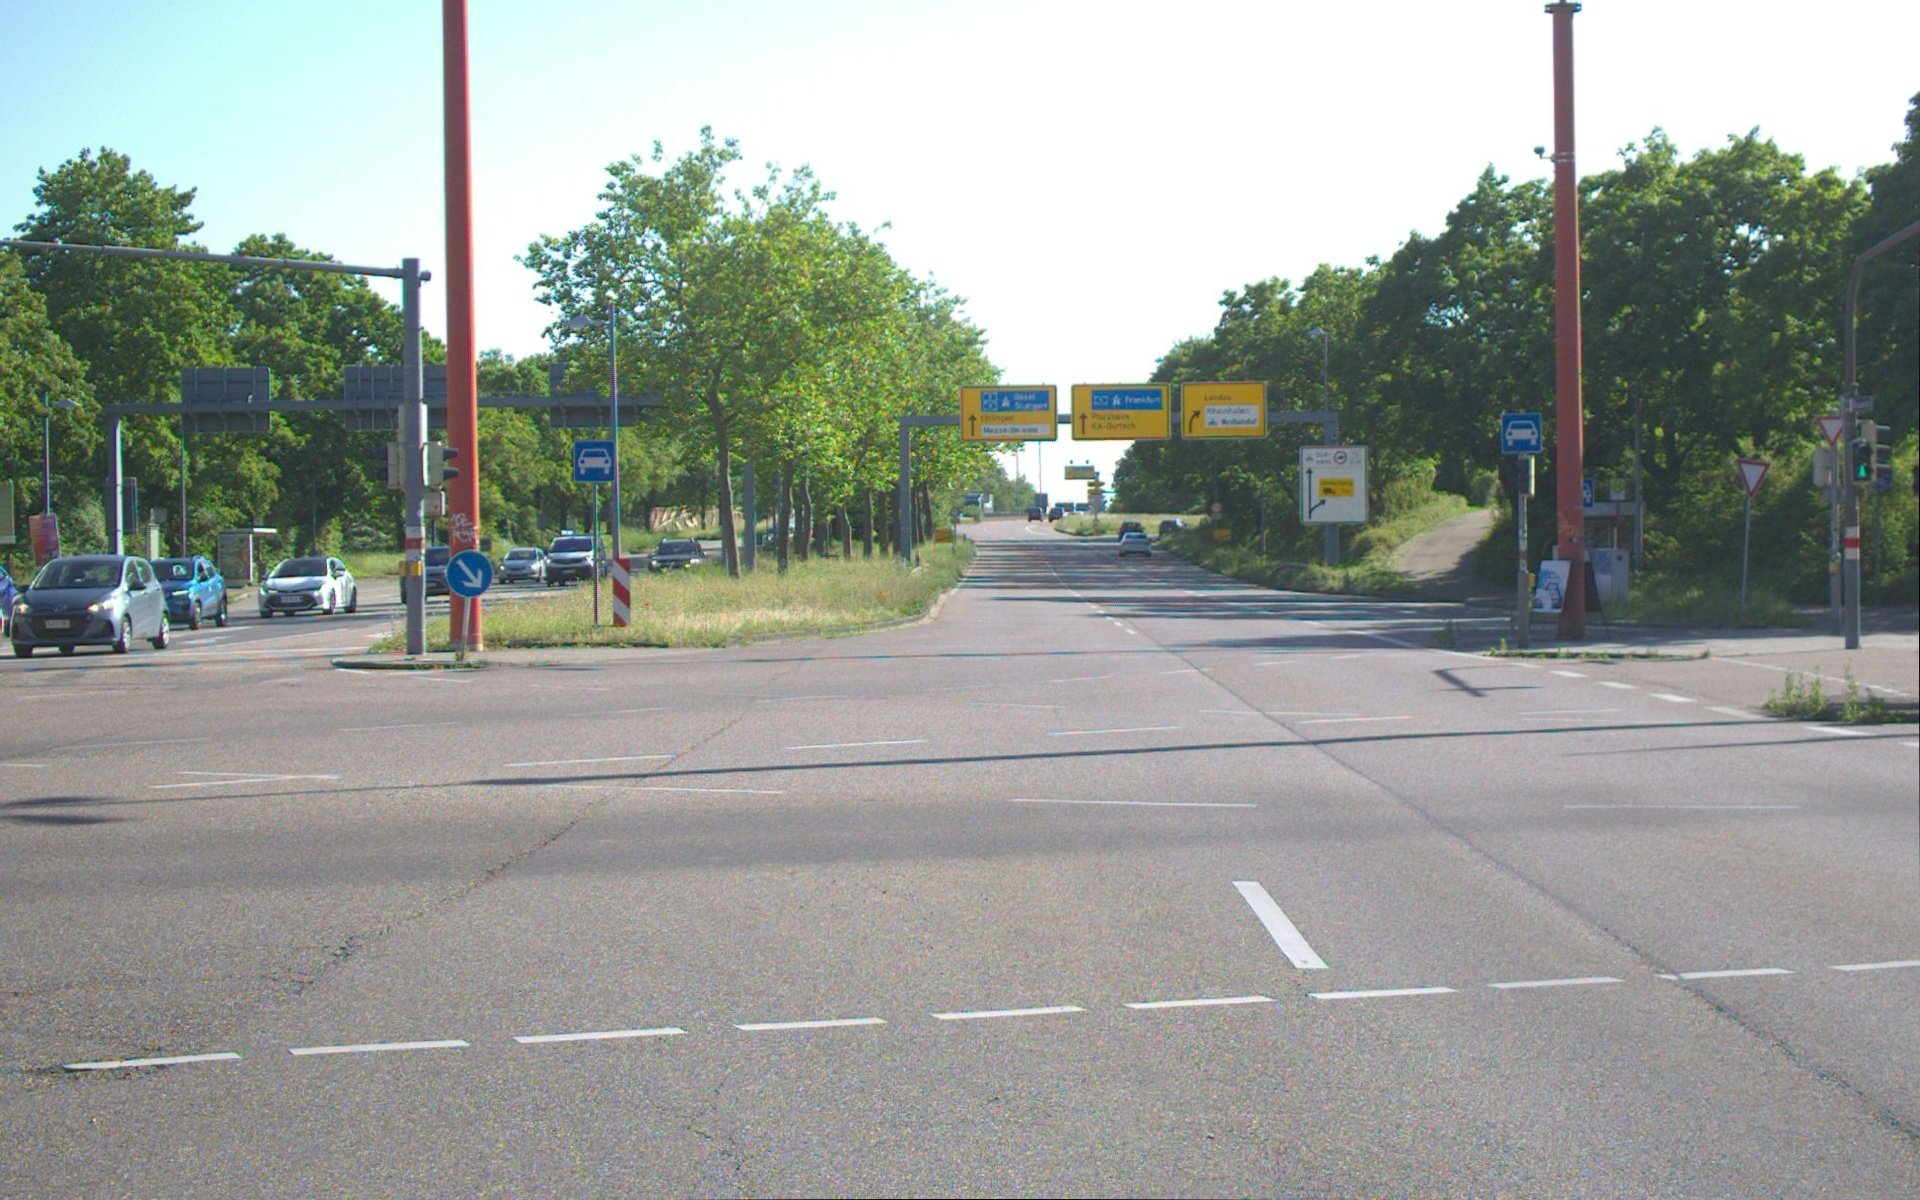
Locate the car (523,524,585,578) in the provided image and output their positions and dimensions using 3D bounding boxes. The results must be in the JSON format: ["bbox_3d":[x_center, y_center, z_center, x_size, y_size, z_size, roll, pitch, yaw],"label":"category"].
[{"bbox_3d":[-15.582,-1.868,132.082,2.003,2.007,4.000,1,1,-2],"label":"car"}]

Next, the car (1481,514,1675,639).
[{"bbox_3d":[9.700,-0.390,53.731,1.996,1.881,3.995,0,1,25],"label":"car"}]

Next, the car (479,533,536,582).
[{"bbox_3d":[-19.143,-1.799,145.476,2.003,2.007,4.000,1,1,-2],"label":"car"}]

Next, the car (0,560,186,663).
[{"bbox_3d":[-13.098,0.154,52.101,1.701,1.416,4.000,3,0,1],"label":"car"}]

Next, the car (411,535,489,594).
[{"bbox_3d":[-15.209,-1.078,102.664,1.625,1.733,4.000,0,1,1],"label":"car"}]

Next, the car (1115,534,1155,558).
[{"bbox_3d":[10.172,-3.140,200.481,2.054,1.366,4.392,-1,1,-1],"label":"car"}]

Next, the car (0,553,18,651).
[{"bbox_3d":[-16.340,0.034,54.297,1.704,1.590,4.000,1,1,2],"label":"car"}]

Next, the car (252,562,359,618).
[{"bbox_3d":[-16.103,-0.262,84.779,2.003,1.303,4.000,-1,1,-2],"label":"car"}]

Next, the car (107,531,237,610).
[{"bbox_3d":[-16.173,-0.606,70.732,1.704,1.553,3.803,1,1,2],"label":"car"}]
